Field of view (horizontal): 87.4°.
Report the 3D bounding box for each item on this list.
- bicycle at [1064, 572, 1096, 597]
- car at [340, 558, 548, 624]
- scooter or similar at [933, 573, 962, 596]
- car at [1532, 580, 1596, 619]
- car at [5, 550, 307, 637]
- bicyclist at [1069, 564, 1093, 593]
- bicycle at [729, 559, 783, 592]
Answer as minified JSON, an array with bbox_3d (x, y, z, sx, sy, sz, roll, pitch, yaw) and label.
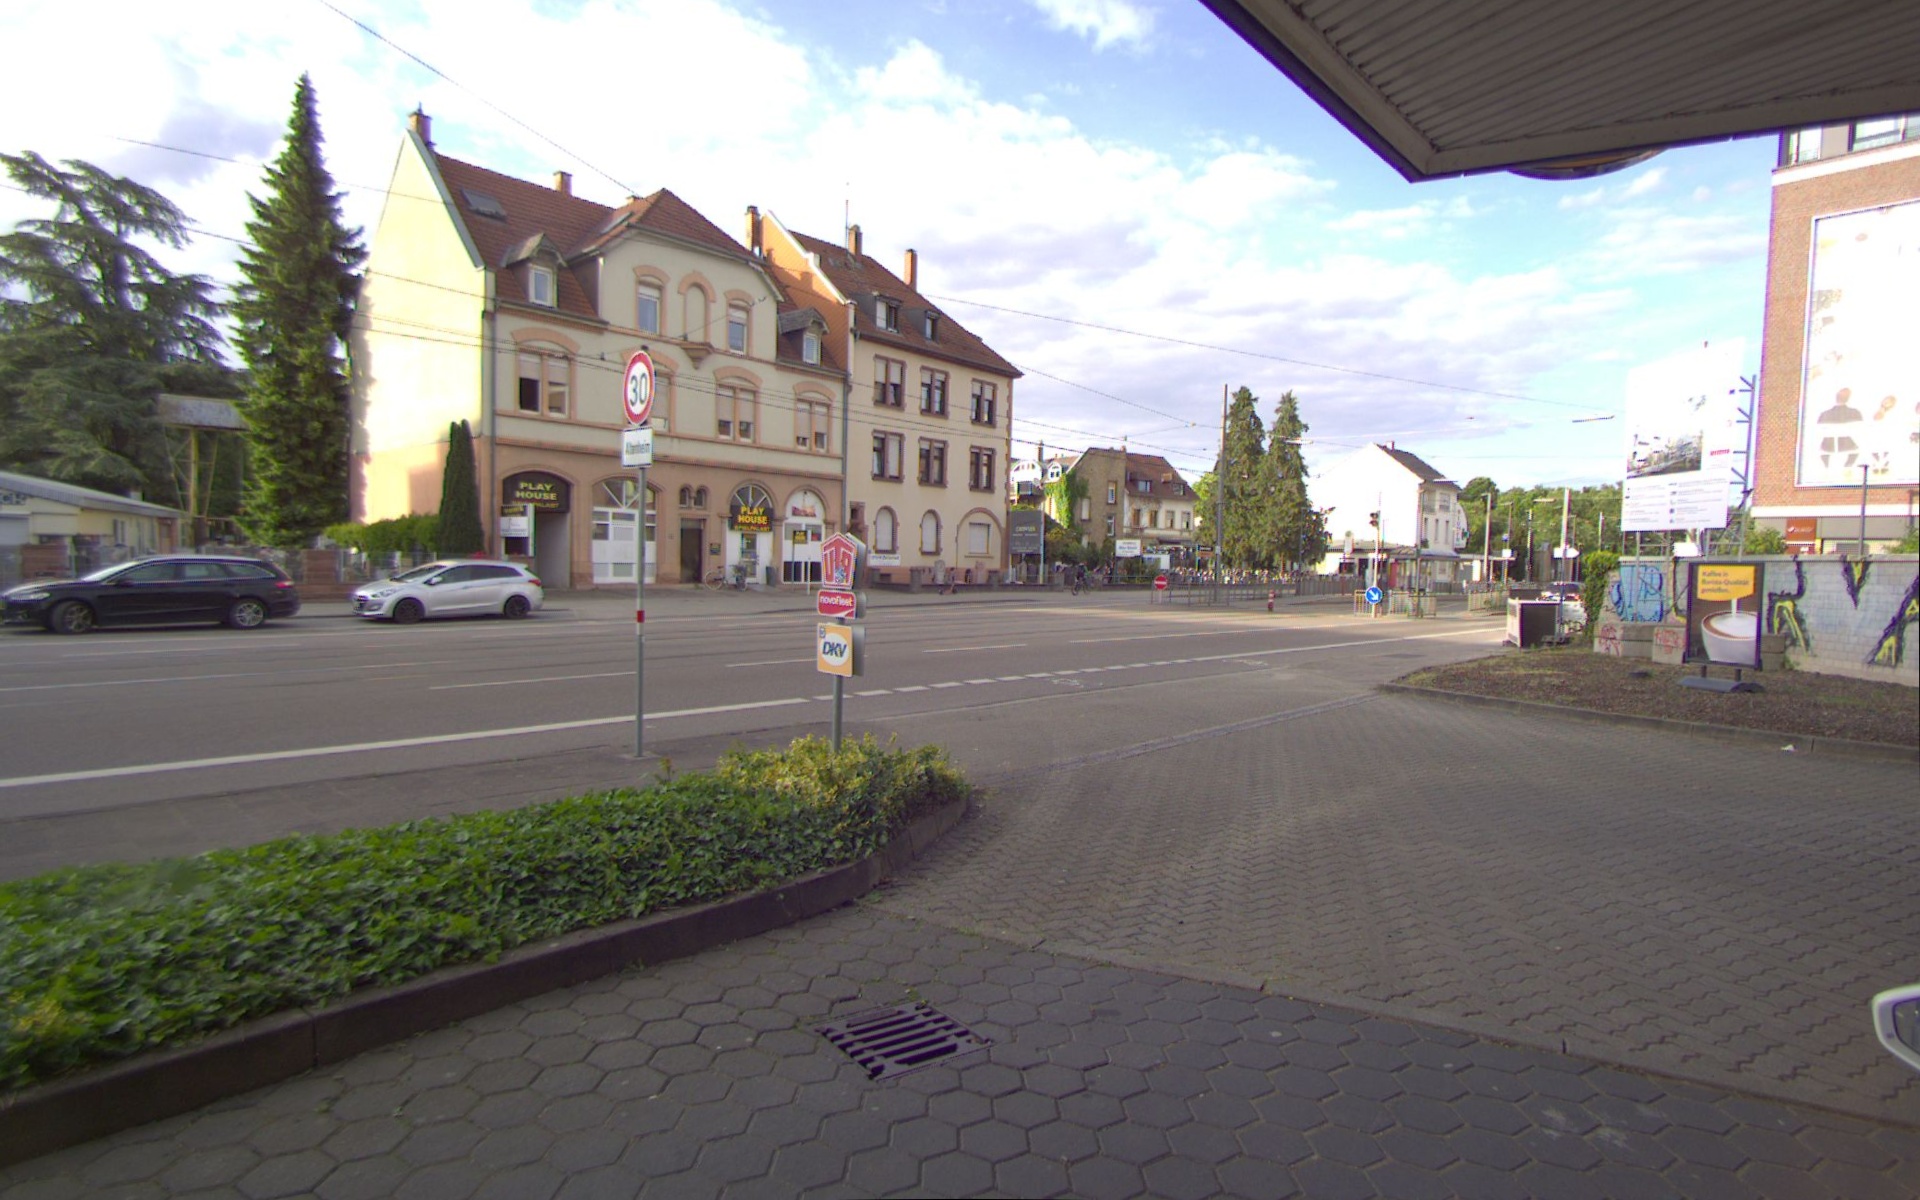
[{"bbox_3d":[6.192,-0.796,51.779,0.740,1.219,1.813,7,6,38],"label":"bicycle"},{"bbox_3d":[-12.920,-0.242,25.349,1.718,1.502,4.357,3,2,41],"label":"car"},{"bbox_3d":[-0.556,-0.702,45.086,0.437,1.006,1.460,6,5,41],"label":"scooter or similar"},{"bbox_3d":[27.011,-0.043,44.890,1.649,1.568,3.687,5,4,43],"label":"car"},{"bbox_3d":[-16.478,-0.166,20.811,1.827,1.542,4.642,5,4,40],"label":"car"},{"bbox_3d":[6.230,-1.112,51.793,0.740,1.428,0.917,7,6,38],"label":"bicyclist"},{"bbox_3d":[-8.238,-0.990,40.621,0.741,1.219,2.011,8,5,41],"label":"bicycle"}]
